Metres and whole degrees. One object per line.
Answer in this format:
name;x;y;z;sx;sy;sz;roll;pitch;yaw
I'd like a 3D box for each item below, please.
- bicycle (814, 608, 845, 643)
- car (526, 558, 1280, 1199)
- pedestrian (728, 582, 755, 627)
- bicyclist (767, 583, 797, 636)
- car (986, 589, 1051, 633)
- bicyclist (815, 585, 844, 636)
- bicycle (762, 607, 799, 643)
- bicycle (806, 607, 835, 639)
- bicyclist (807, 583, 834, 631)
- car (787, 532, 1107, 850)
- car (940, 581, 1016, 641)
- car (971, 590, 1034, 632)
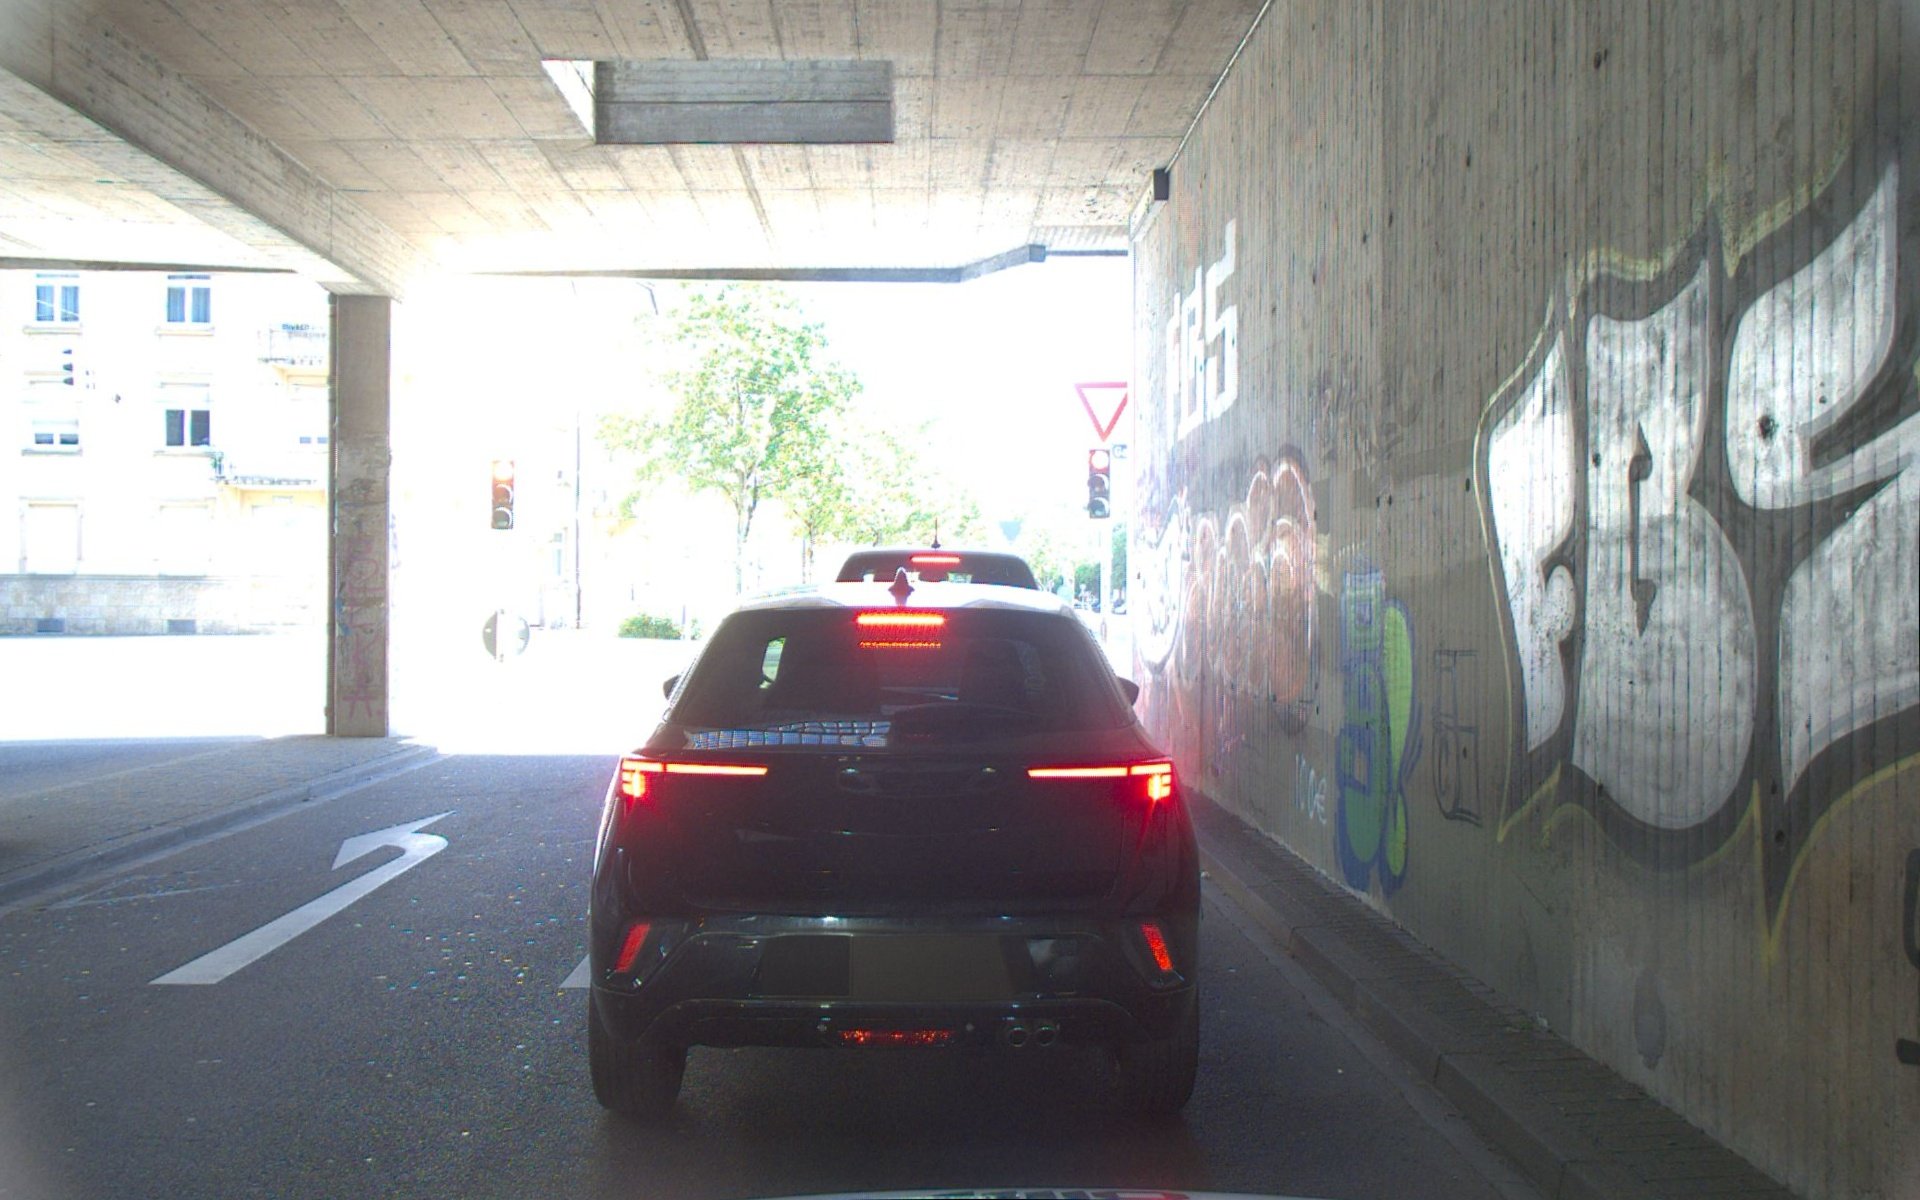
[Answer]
bicycle;-4.117;0.792;52.231;0.612;1.086;1.690;1;0;9
car;-0.163;0.672;6.047;1.844;1.565;3.963;0;0;-1
pedestrian;-9.981;0.205;75.734;0.971;2.049;1.089;0;0;7
bicyclist;-5.538;0.298;51.443;0.713;1.609;0.815;1;-1;9
car;2.471;0.477;69.024;2.173;1.749;4.463;0;-1;9
bicyclist;-4.131;0.326;52.274;0.713;1.609;0.815;1;-1;9
bicycle;-5.557;0.764;51.410;0.716;1.086;1.690;1;0;9
bicycle;-4.760;0.785;56.573;0.612;1.086;1.690;1;0;9
bicyclist;-4.760;0.228;56.457;0.713;1.609;0.815;1;-1;9
car;-0.102;0.532;11.871;1.906;1.892;3.963;0;0;-1
car;0.496;0.332;44.165;1.927;1.523;3.896;0;-1;1
car;1.624;0.435;62.203;1.926;1.523;3.899;0;-1;8
